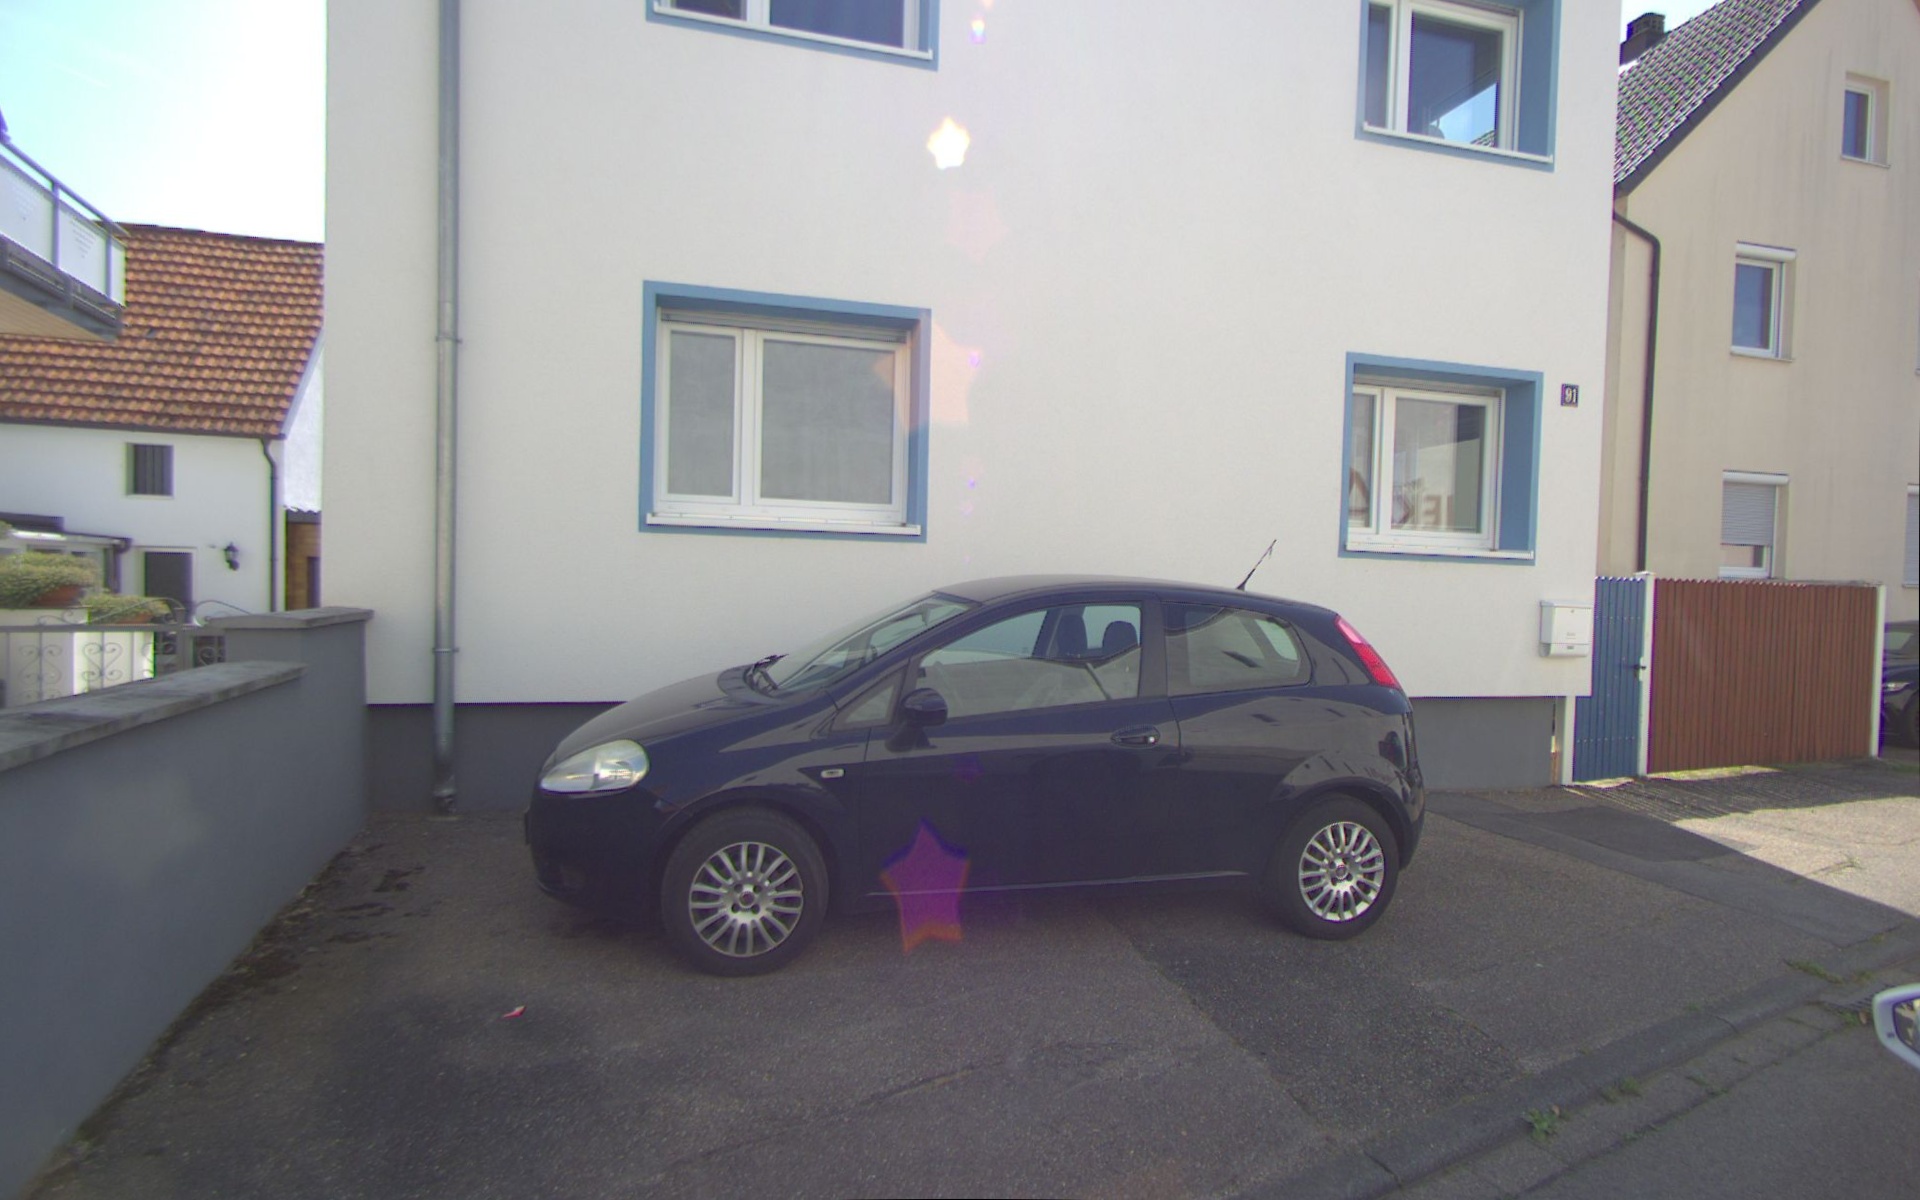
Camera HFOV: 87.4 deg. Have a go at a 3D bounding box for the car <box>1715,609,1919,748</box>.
[{"bbox_3d":[11.461,0.905,11.787,4.394,1.367,1.770,2,1,-15],"label":"car"}]

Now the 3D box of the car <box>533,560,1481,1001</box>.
[{"bbox_3d":[0.198,0.622,4.604,3.723,1.474,1.638,1,1,-15],"label":"car"}]
